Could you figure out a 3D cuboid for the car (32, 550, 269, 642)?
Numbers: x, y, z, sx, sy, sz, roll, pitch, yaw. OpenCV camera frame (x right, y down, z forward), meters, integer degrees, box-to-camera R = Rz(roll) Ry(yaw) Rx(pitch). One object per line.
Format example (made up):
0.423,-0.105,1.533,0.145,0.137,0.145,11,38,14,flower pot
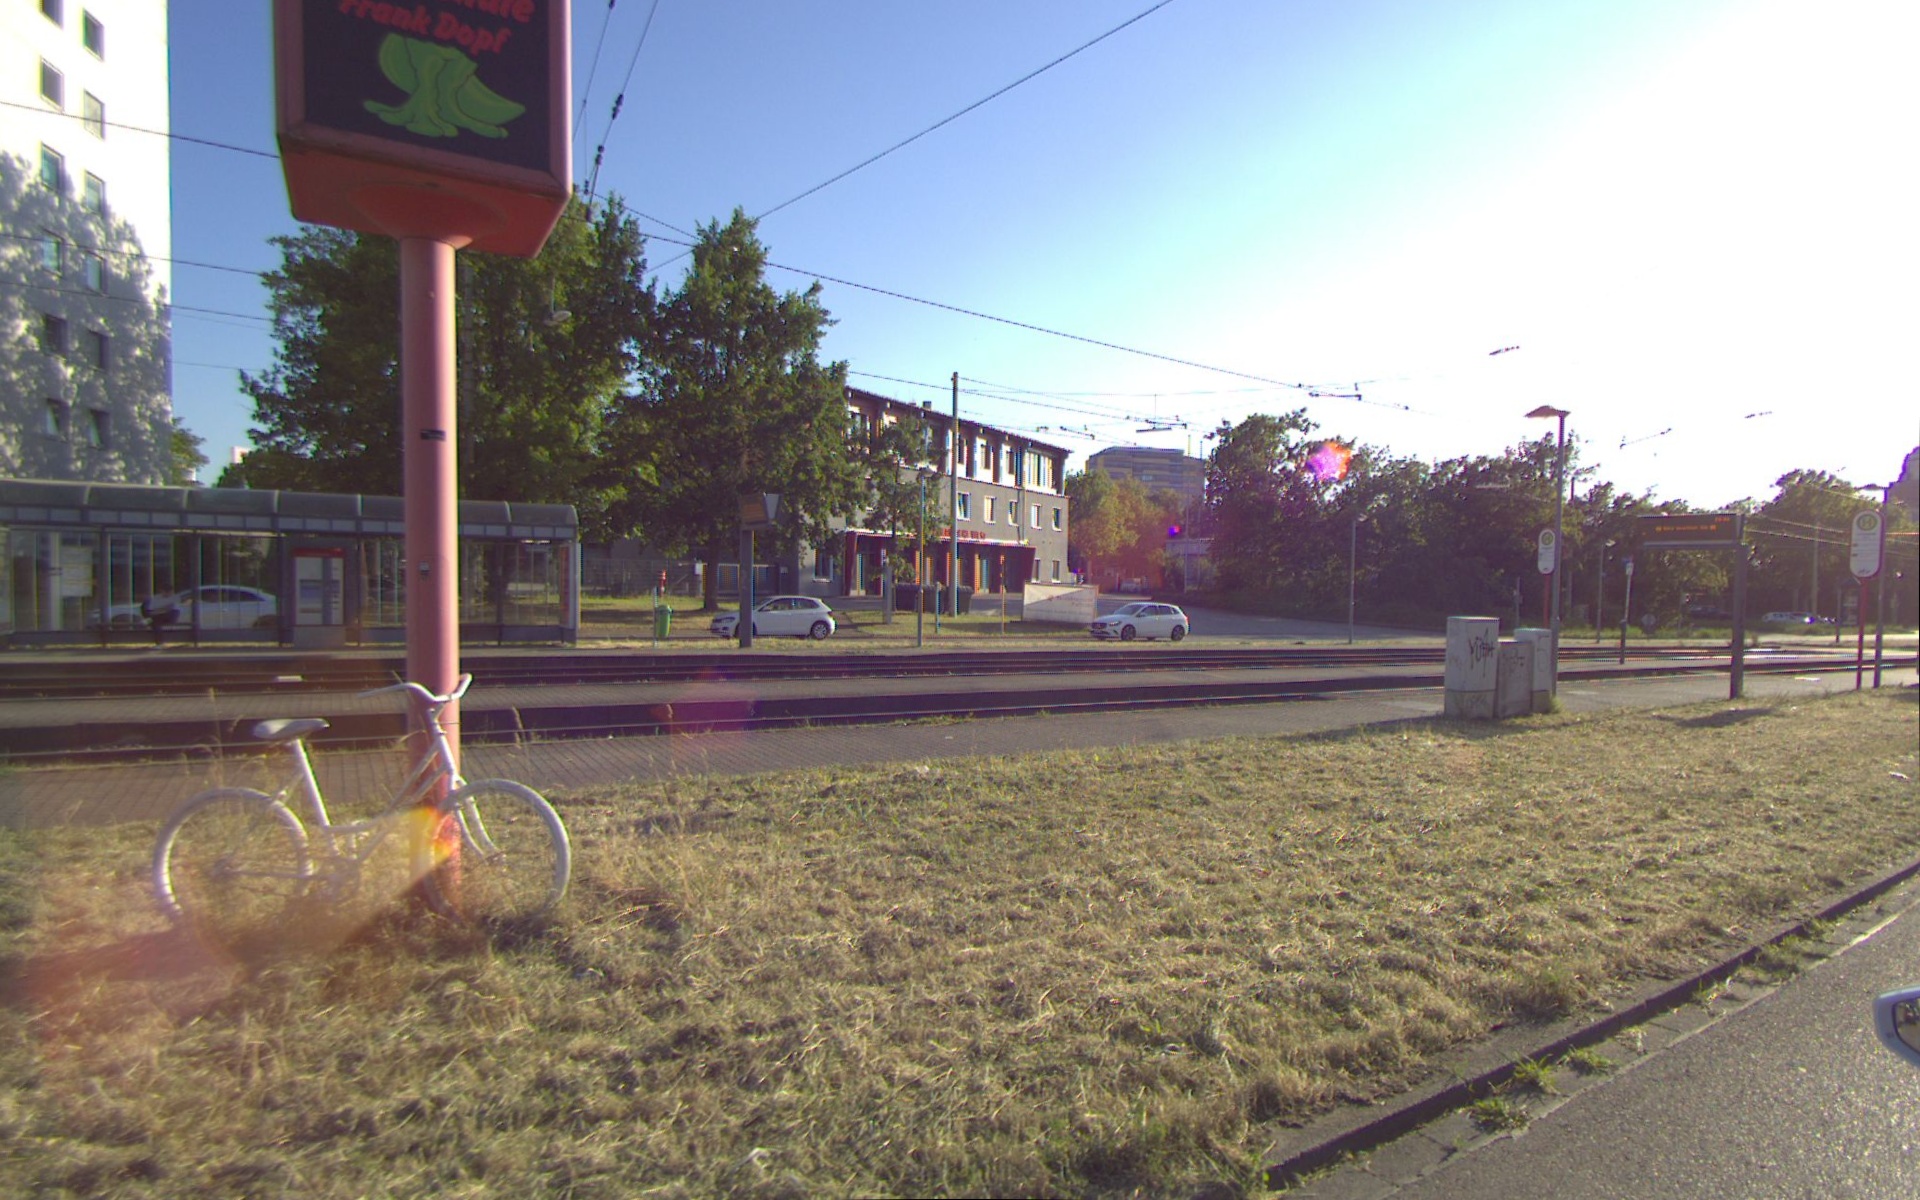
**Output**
-19.259,-0.061,24.161,4.110,2.040,1.984,1,0,-29,car

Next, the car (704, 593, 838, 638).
-6.162,0.523,32.778,3.921,1.385,1.792,1,0,-32,car

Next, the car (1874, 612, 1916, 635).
90.258,2.277,96.959,3.956,2.040,1.982,2,0,-32,car

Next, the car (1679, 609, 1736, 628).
80.183,1.949,107.806,4.706,1.868,1.996,1,0,31,car

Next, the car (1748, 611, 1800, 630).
86.267,2.154,106.494,3.930,1.773,1.996,2,0,31,car

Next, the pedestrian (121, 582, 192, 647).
-15.185,0.268,19.017,0.912,1.204,0.839,1,0,-30,pedestrian

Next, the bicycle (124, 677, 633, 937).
-2.286,0.809,4.083,1.709,0.930,0.555,1,-1,-2,bicycle

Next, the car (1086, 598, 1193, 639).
7.353,0.757,41.014,4.343,1.552,1.646,2,0,-33,car

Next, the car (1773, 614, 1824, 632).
90.068,2.472,107.968,3.930,1.773,1.996,2,0,31,car
